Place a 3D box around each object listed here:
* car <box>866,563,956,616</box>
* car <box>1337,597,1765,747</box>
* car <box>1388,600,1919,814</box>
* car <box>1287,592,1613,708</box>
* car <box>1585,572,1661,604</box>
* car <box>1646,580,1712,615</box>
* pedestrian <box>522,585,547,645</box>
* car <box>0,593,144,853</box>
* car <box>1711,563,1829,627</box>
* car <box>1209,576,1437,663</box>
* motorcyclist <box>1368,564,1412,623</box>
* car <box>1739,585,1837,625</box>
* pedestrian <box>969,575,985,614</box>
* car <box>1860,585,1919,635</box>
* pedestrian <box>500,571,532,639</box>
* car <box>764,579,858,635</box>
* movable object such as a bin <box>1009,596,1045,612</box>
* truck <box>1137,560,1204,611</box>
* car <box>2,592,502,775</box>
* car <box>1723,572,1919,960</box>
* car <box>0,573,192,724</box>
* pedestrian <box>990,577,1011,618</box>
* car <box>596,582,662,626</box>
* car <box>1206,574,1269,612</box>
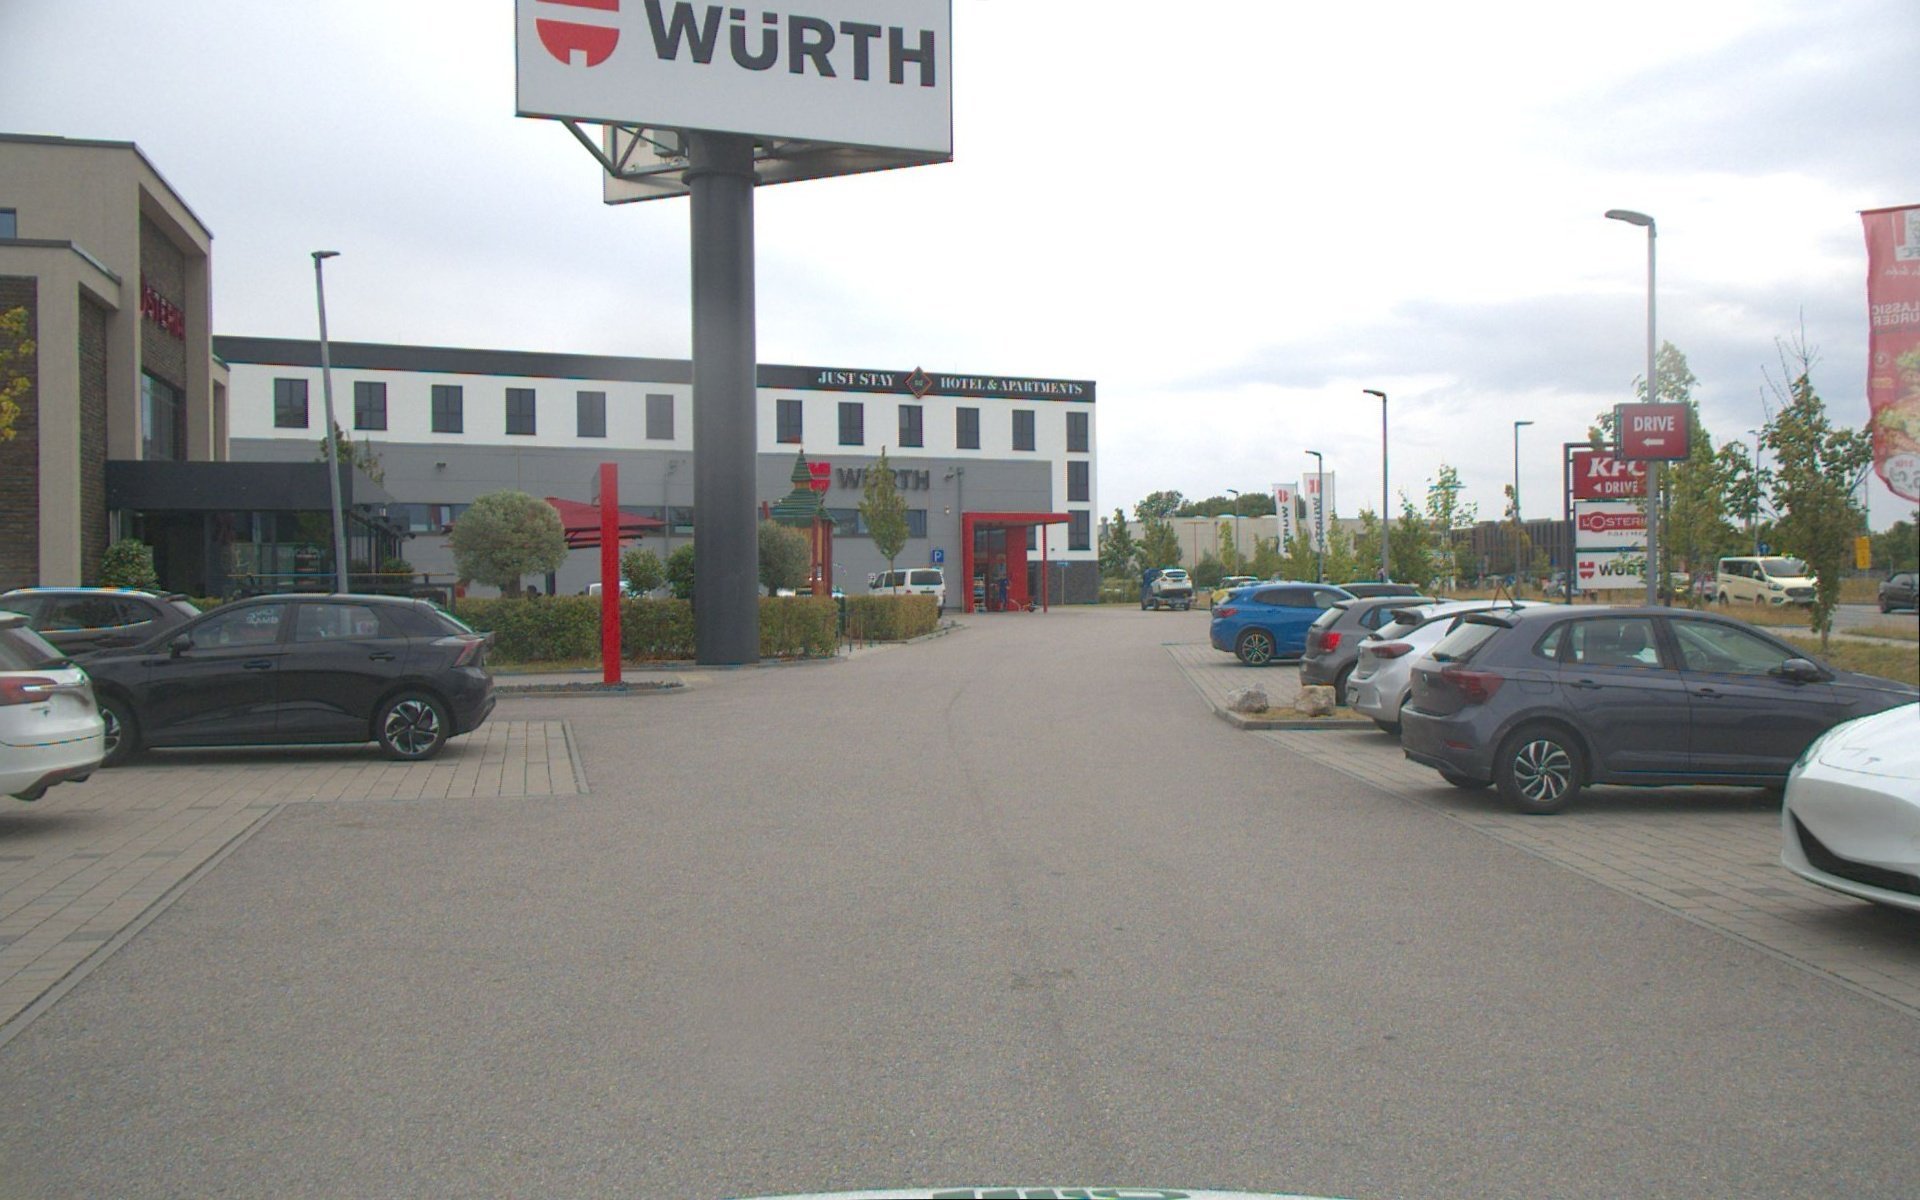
[{"bbox_3d":[-2.062,-0.403,68.021,2.033,1.887,4.024,-6,2,-28],"label":"car"},{"bbox_3d":[6.086,0.717,17.379,3.845,1.437,1.840,1,0,1],"label":"car"},{"bbox_3d":[5.286,0.749,12.391,3.717,1.437,1.739,1,0,1],"label":"car"},{"bbox_3d":[6.455,0.639,22.127,3.903,1.453,1.728,0,1,4],"label":"car"},{"bbox_3d":[35.827,-0.654,89.556,1.761,1.579,4.849,-3,0,-5],"label":"car"},{"bbox_3d":[29.458,-0.106,67.852,1.431,1.360,3.164,-1,1,3],"label":"car"},{"bbox_3d":[-8.913,0.314,34.634,0.412,1.220,0.456,-3,0,-10],"label":"pedestrian"},{"bbox_3d":[-7.591,0.761,10.321,4.095,1.512,1.993,-1,1,-14],"label":"car"},{"bbox_3d":[28.750,-0.231,58.886,1.951,2.122,5.234,-2,1,5],"label":"car"},{"bbox_3d":[6.930,0.364,31.928,4.113,1.571,1.866,-1,1,6],"label":"car"},{"bbox_3d":[11.415,-0.171,43.903,0.919,1.515,0.830,-1,0,0],"label":"motorcyclist"},{"bbox_3d":[31.870,0.173,63.799,1.726,1.419,4.220,-1,1,1],"label":"car"},{"bbox_3d":[0.797,-0.252,76.965,0.612,1.782,0.904,-1,0,-8],"label":"pedestrian"},{"bbox_3d":[31.441,0.288,54.216,1.811,1.525,4.287,-1,1,5],"label":"car"},{"bbox_3d":[-11.966,0.137,44.557,0.729,1.778,0.700,-3,0,-18],"label":"pedestrian"},{"bbox_3d":[-4.988,0.235,54.716,1.964,1.679,4.551,-3,0,-20],"label":"car"},{"bbox_3d":[3.098,0.167,76.385,1.465,0.716,0.960,0,0,-18],"label":"movable object such as a bin"},{"bbox_3d":[11.568,-0.749,91.519,2.285,2.449,7.890,0,-2,-3],"label":"truck"},{"bbox_3d":[-6.394,0.712,15.426,4.041,1.555,1.735,0,0,-15],"label":"car"},{"bbox_3d":[6.062,0.689,7.402,4.442,1.568,1.924,1,0,-4],"label":"car"},{"bbox_3d":[-11.229,0.599,19.345,3.934,1.623,1.724,-3,0,-23],"label":"car"},{"bbox_3d":[1.892,-0.119,76.962,0.666,1.834,0.876,2,1,-17],"label":"pedestrian"},{"bbox_3d":[-12.896,0.162,64.297,1.713,1.579,4.235,-3,0,-22],"label":"car"},{"bbox_3d":[12.543,-0.306,74.967,1.821,1.679,3.995,0,0,-6],"label":"car"}]
